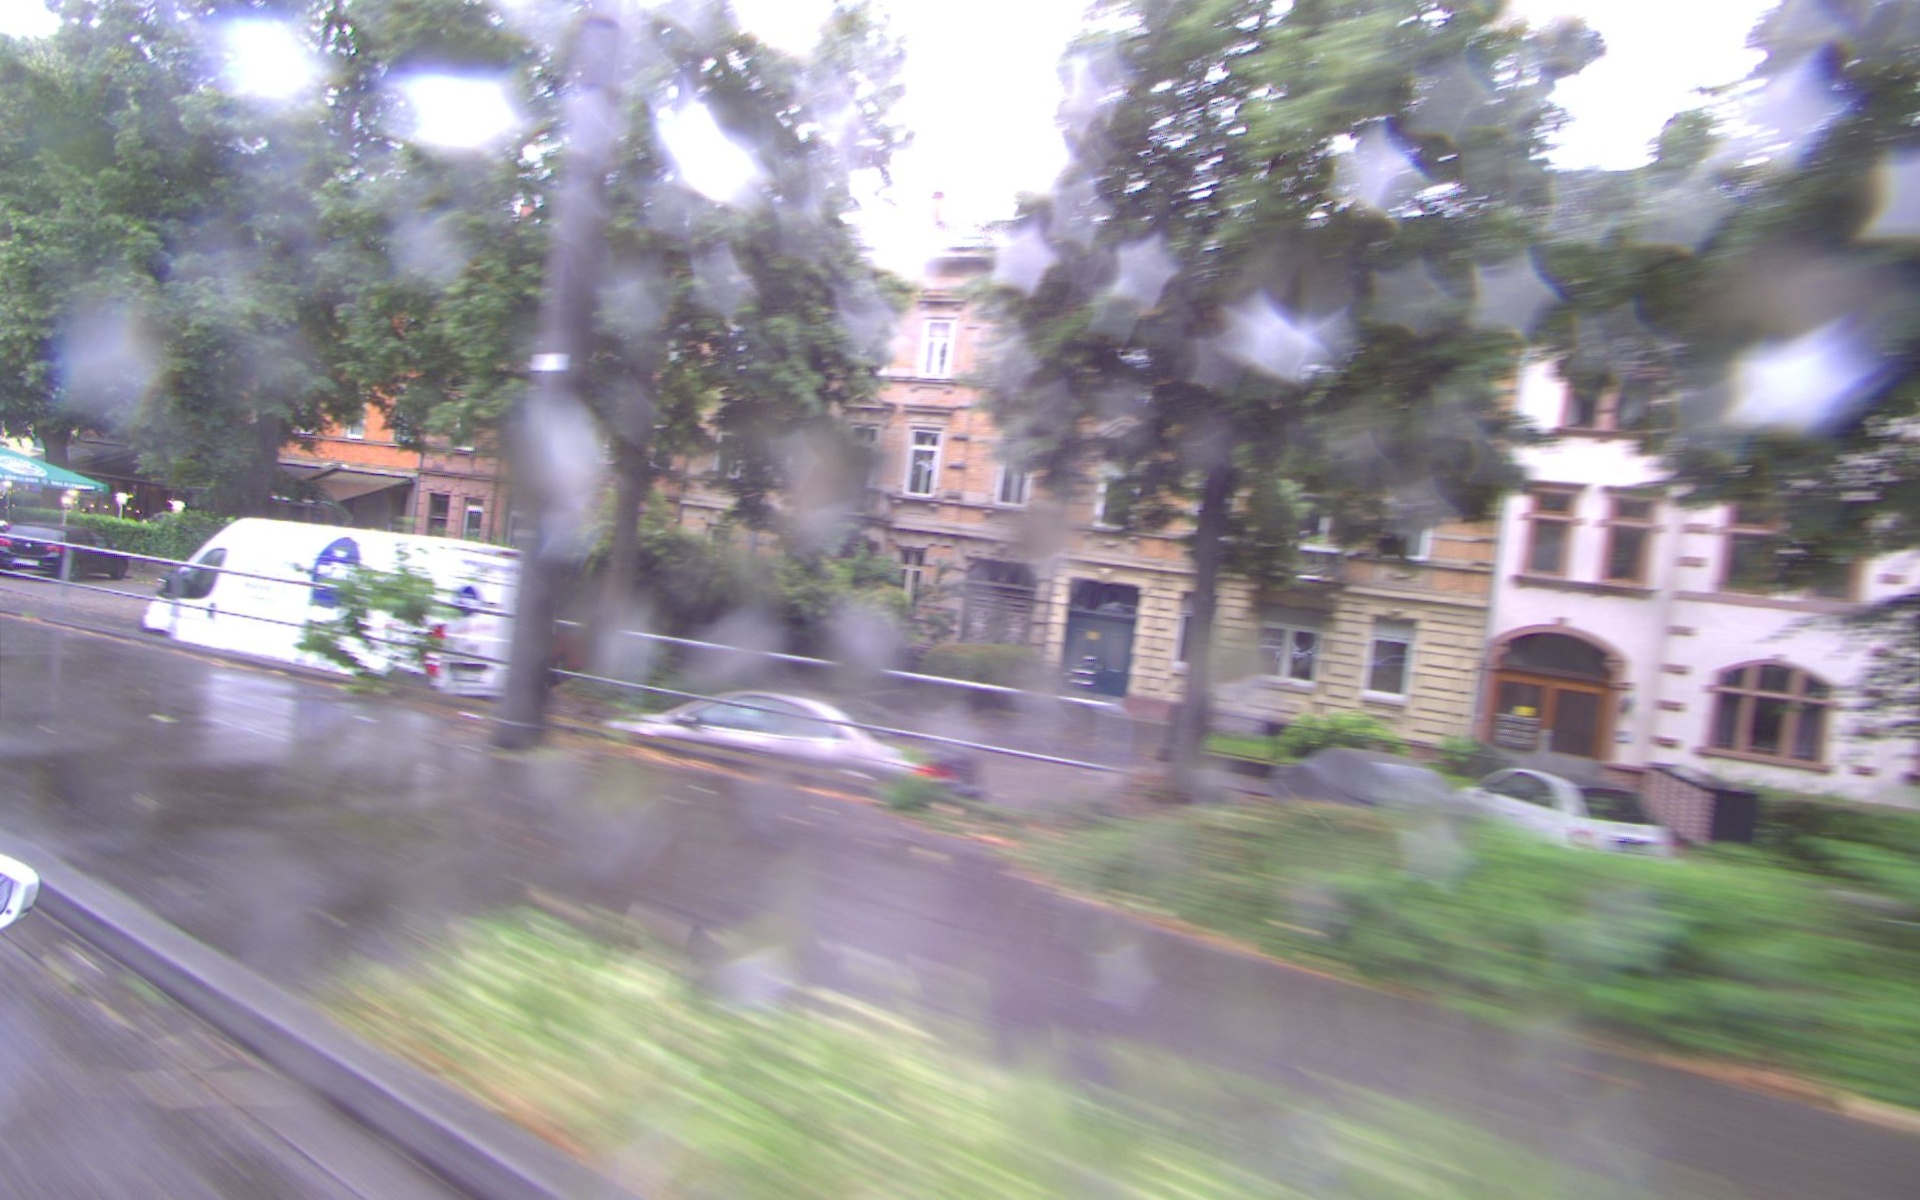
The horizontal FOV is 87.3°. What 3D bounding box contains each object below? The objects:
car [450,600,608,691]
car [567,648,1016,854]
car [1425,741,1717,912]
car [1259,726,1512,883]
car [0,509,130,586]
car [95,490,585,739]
[{"bbox_3d":[-8.960,0.873,21.339,1.867,1.470,4.425,8,-1,-9],"label":"car"},{"bbox_3d":[-1.796,1.524,10.998,4.303,1.368,1.975,7,-3,20],"label":"car"},{"bbox_3d":[8.668,3.151,14.745,1.628,1.522,4.000,6,-1,-1],"label":"car"},{"bbox_3d":[6.156,2.924,15.168,1.661,1.396,4.262,6,-1,-4],"label":"car"},{"bbox_3d":[-25.015,-1.421,27.991,1.977,1.733,3.974,8,-2,-27],"label":"car"},{"bbox_3d":[-8.399,0.153,13.622,6.045,2.447,2.218,7,-2,21],"label":"car"}]
